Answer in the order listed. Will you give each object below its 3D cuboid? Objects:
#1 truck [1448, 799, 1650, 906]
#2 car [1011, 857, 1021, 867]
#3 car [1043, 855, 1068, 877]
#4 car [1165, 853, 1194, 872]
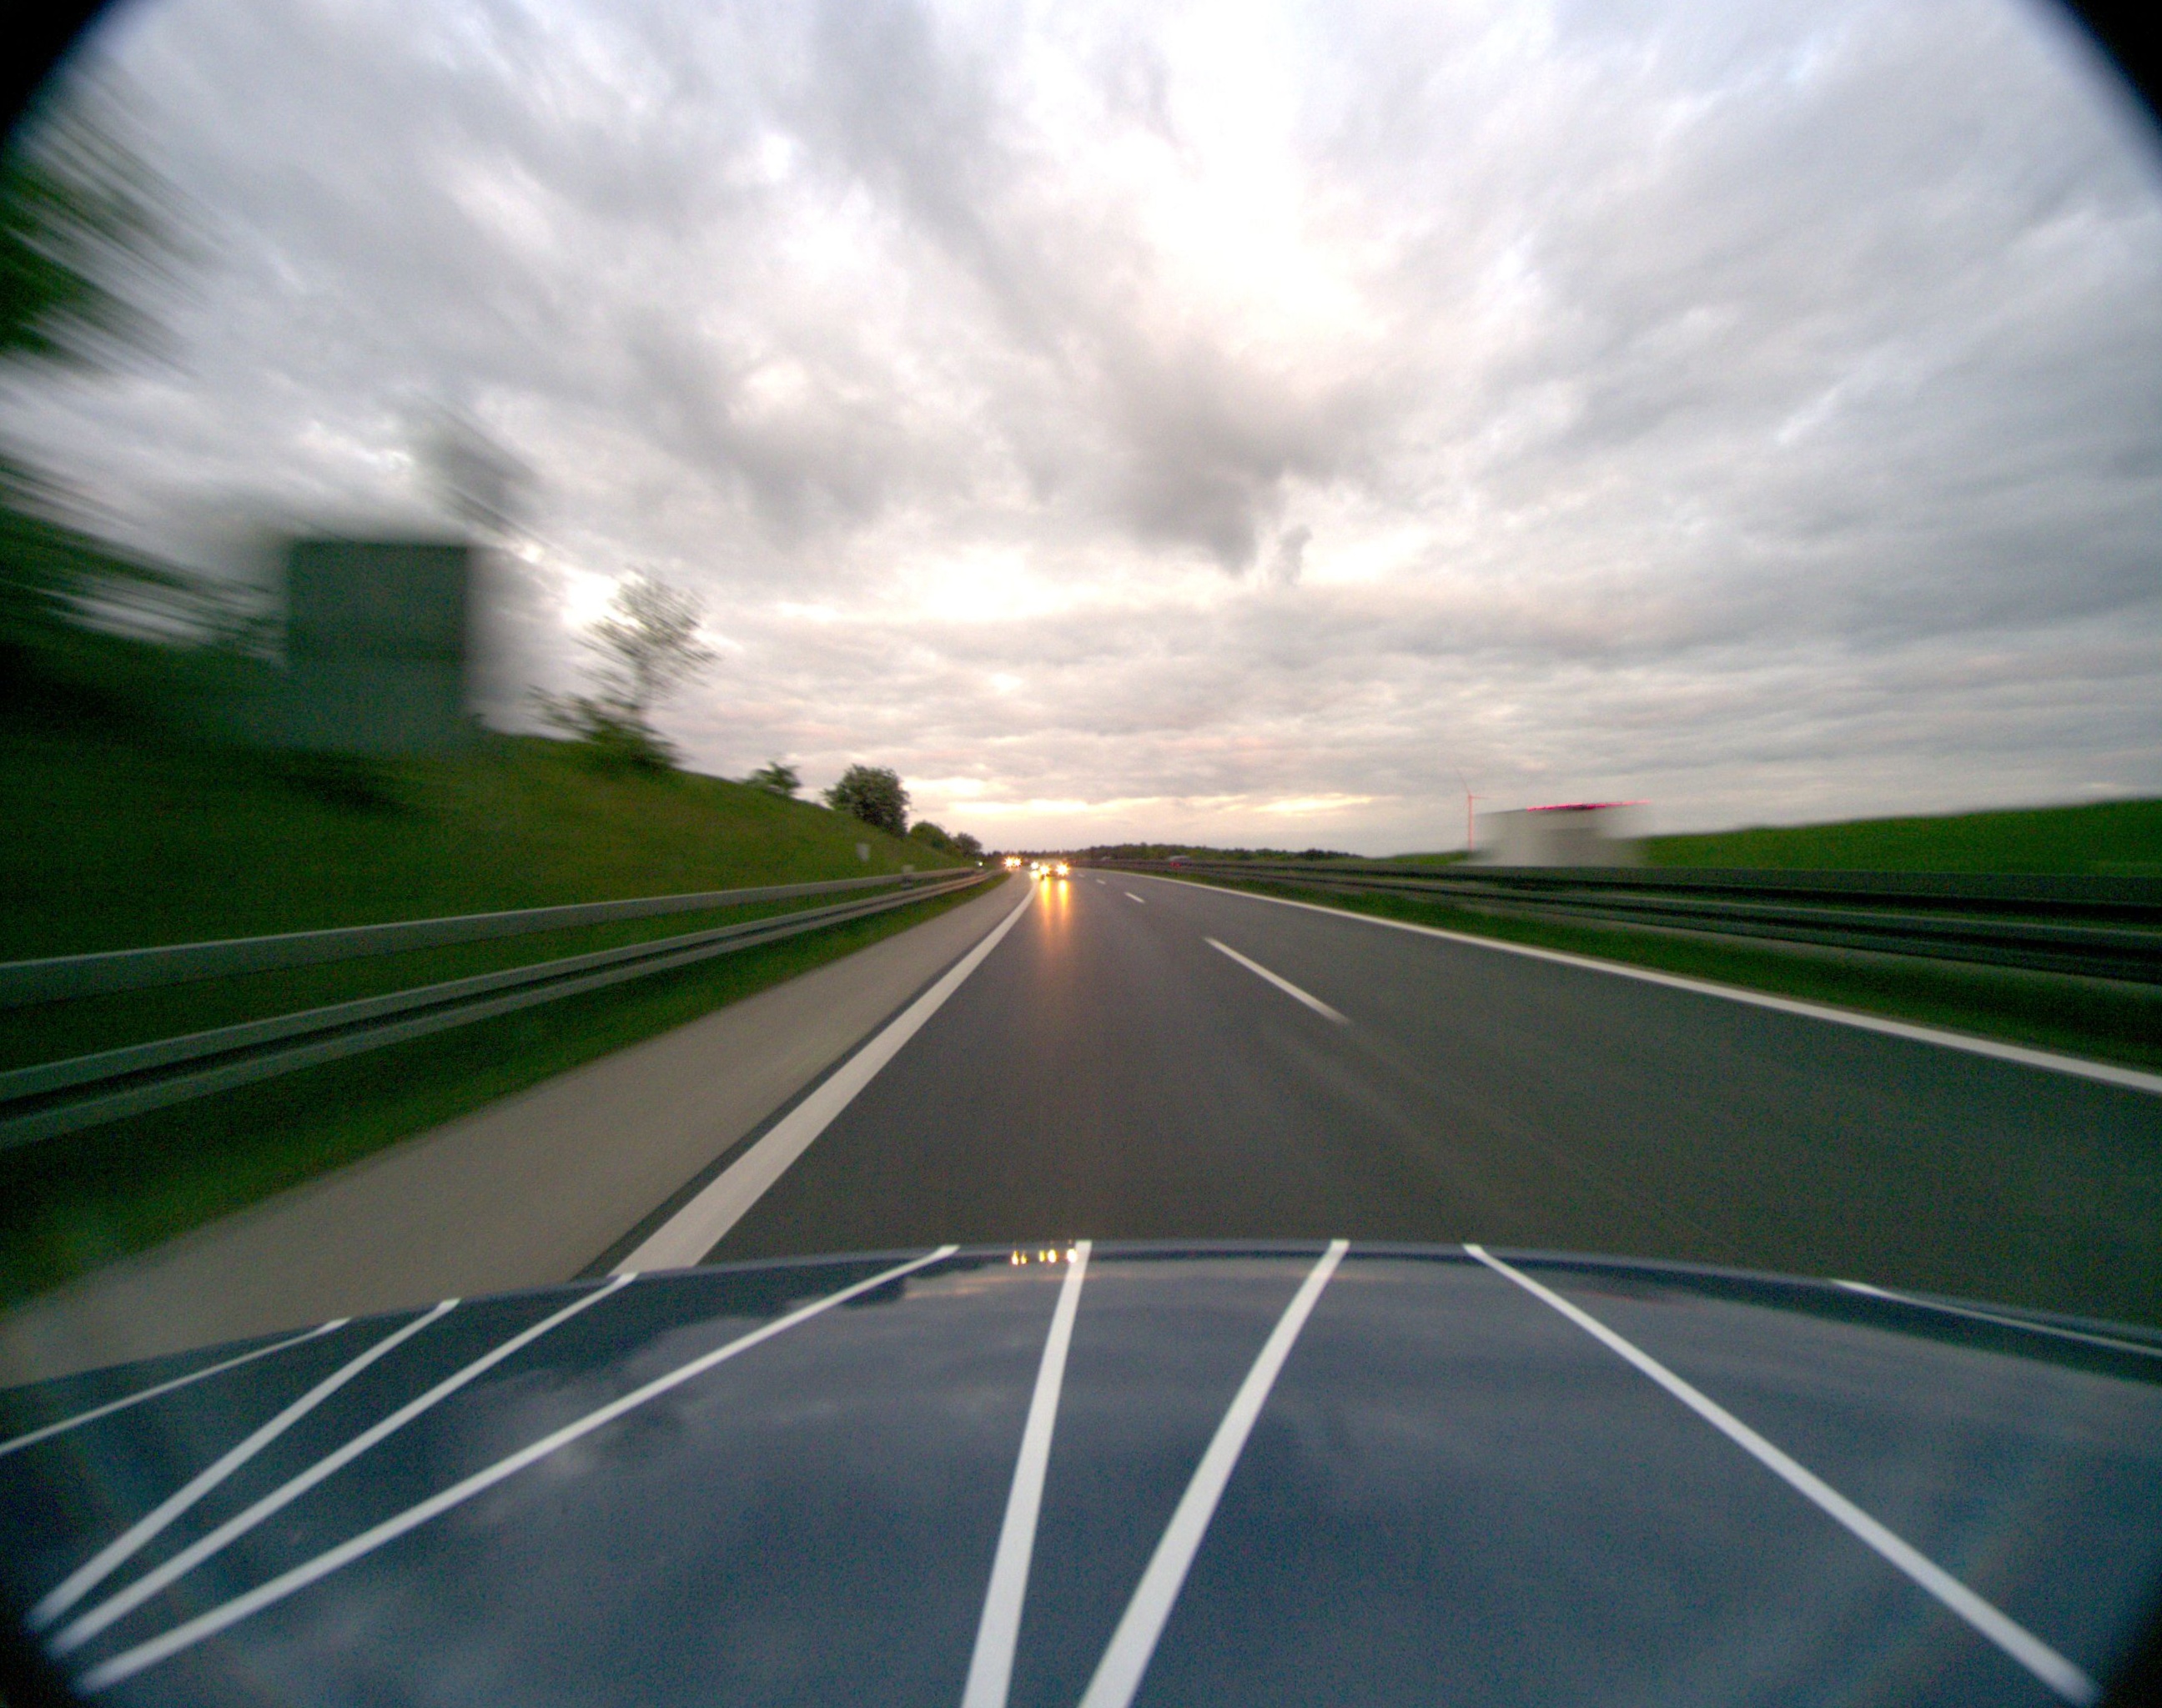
[{"bbox_3d":[15.539,-0.033,25.922,2.619,3.091,6.667,-2,0,-1],"label":"truck"},{"bbox_3d":[-12.667,1.606,148.606,1.920,1.827,3.998,0,-1,-6],"label":"car"},{"bbox_3d":[-1.944,0.864,56.930,1.682,1.504,3.999,-1,0,-4],"label":"car"},{"bbox_3d":[9.322,0.774,72.281,1.780,1.704,4.635,-2,0,-4],"label":"car"}]
